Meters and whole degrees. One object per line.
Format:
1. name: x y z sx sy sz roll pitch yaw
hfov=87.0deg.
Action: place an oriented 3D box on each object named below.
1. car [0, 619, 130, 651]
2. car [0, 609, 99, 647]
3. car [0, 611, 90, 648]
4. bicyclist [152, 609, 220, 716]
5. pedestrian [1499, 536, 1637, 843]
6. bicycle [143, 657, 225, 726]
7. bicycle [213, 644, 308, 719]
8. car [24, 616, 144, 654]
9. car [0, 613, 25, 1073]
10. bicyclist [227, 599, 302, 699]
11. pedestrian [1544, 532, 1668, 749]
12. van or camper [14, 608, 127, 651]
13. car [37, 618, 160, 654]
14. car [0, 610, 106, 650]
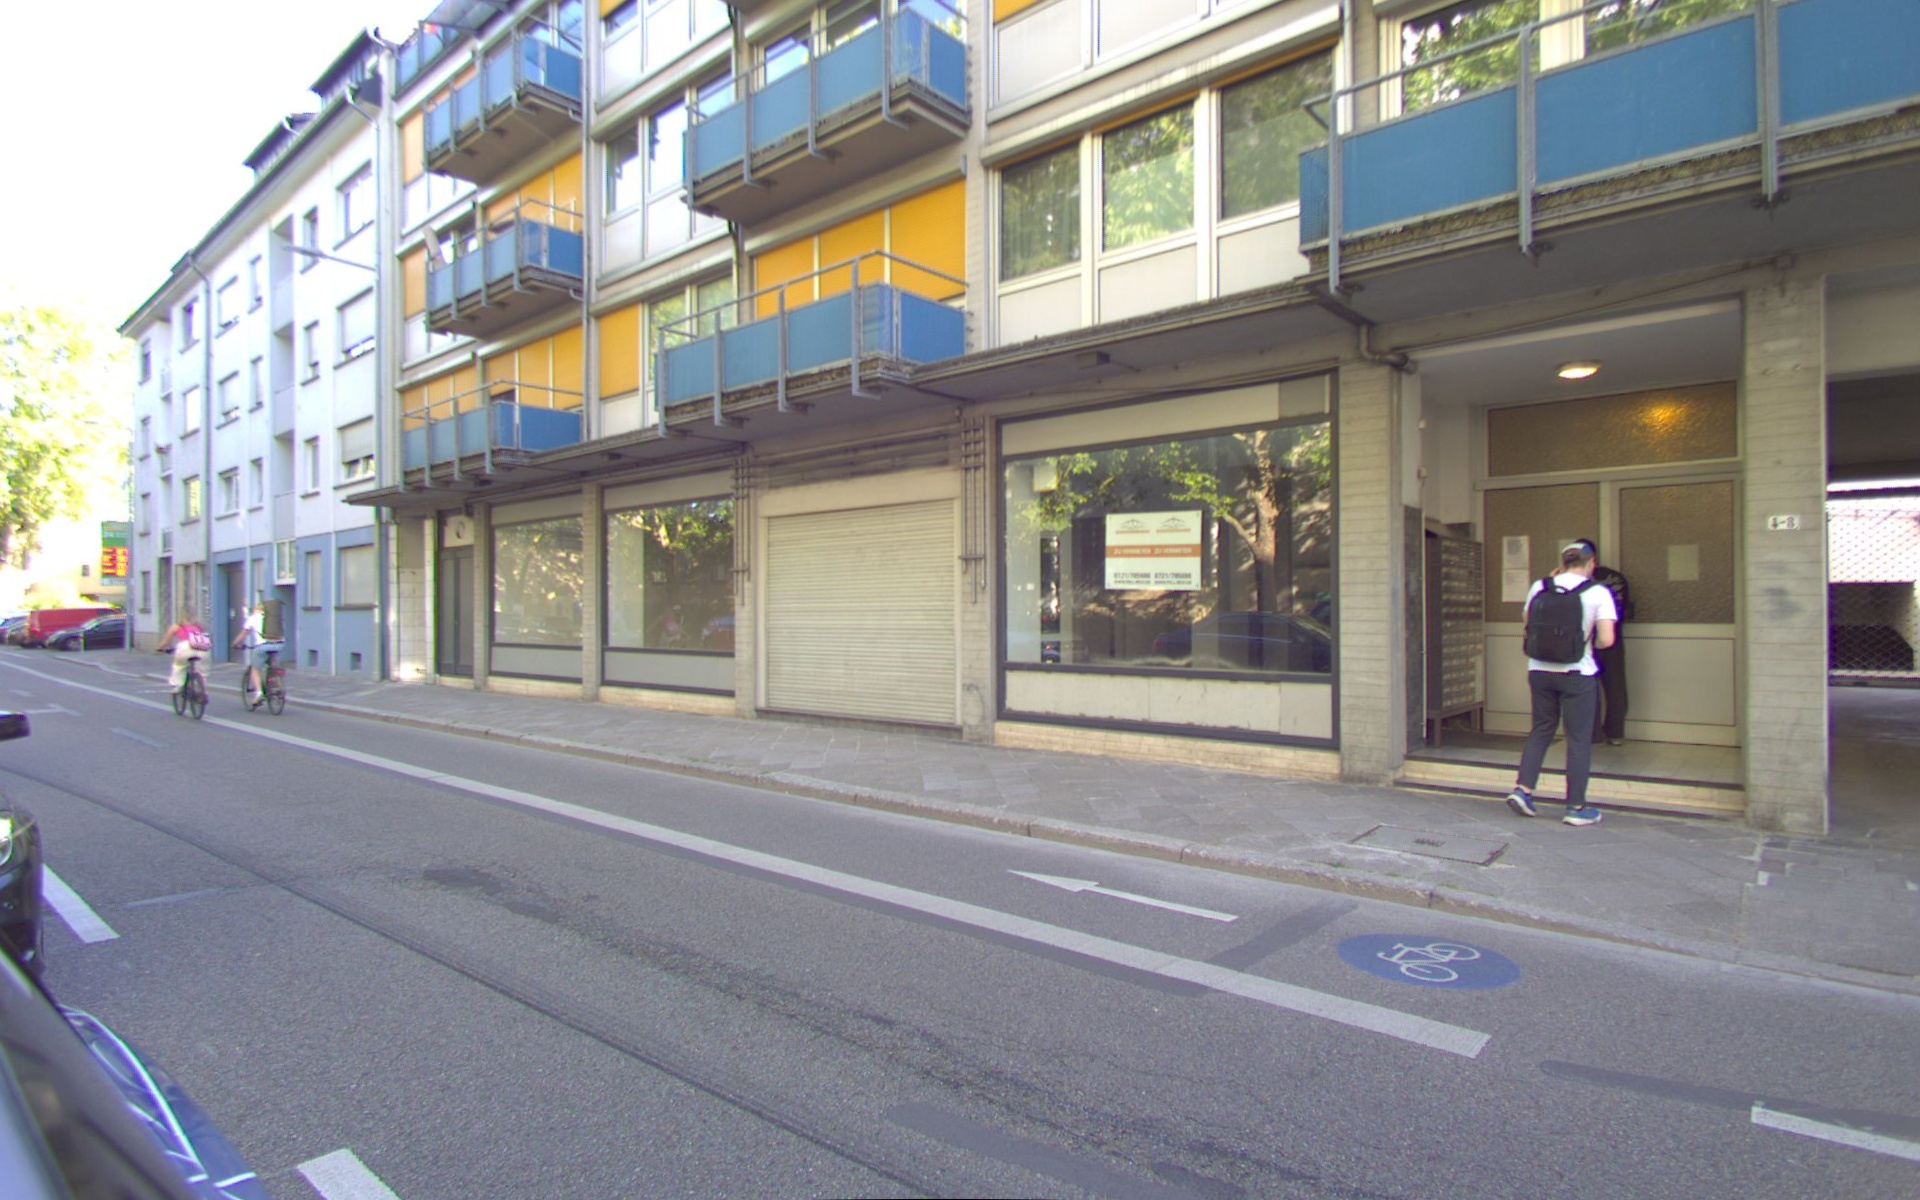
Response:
1. car: -45.725 1.750 51.689 1.999 1.506 4.927 -1 -1 41
2. car: -55.407 1.671 61.137 1.999 2.210 4.927 -1 -1 41
3. car: -57.401 1.821 62.847 1.999 2.210 4.927 -1 -1 41
4. bicyclist: -12.005 0.940 15.696 0.982 1.590 0.677 -1 -1 42
5. pedestrian: 3.912 0.522 6.490 0.601 1.813 0.868 -1 0 40
6. bicycle: -12.096 1.394 15.757 1.863 0.936 0.686 -1 -1 42
7. bicycle: -11.423 1.296 16.510 1.835 1.087 0.854 -1 -1 41
8. car: -41.636 1.619 48.155 1.999 1.703 4.093 -1 -1 41
9. car: -5.053 0.810 3.872 3.861 1.467 1.718 -1 -1 40
10. bicyclist: -11.303 0.770 16.444 0.839 1.566 0.833 -1 -1 41
11. pedestrian: 5.372 0.323 8.434 0.650 1.726 0.550 0 -1 -16
12. van or camper: -43.893 1.430 49.997 1.999 2.029 3.946 -1 -1 40
13. car: -39.756 1.631 46.770 1.999 1.506 4.093 -1 -1 41
14. car: -53.319 1.735 59.187 1.999 2.210 4.927 -1 -1 41
